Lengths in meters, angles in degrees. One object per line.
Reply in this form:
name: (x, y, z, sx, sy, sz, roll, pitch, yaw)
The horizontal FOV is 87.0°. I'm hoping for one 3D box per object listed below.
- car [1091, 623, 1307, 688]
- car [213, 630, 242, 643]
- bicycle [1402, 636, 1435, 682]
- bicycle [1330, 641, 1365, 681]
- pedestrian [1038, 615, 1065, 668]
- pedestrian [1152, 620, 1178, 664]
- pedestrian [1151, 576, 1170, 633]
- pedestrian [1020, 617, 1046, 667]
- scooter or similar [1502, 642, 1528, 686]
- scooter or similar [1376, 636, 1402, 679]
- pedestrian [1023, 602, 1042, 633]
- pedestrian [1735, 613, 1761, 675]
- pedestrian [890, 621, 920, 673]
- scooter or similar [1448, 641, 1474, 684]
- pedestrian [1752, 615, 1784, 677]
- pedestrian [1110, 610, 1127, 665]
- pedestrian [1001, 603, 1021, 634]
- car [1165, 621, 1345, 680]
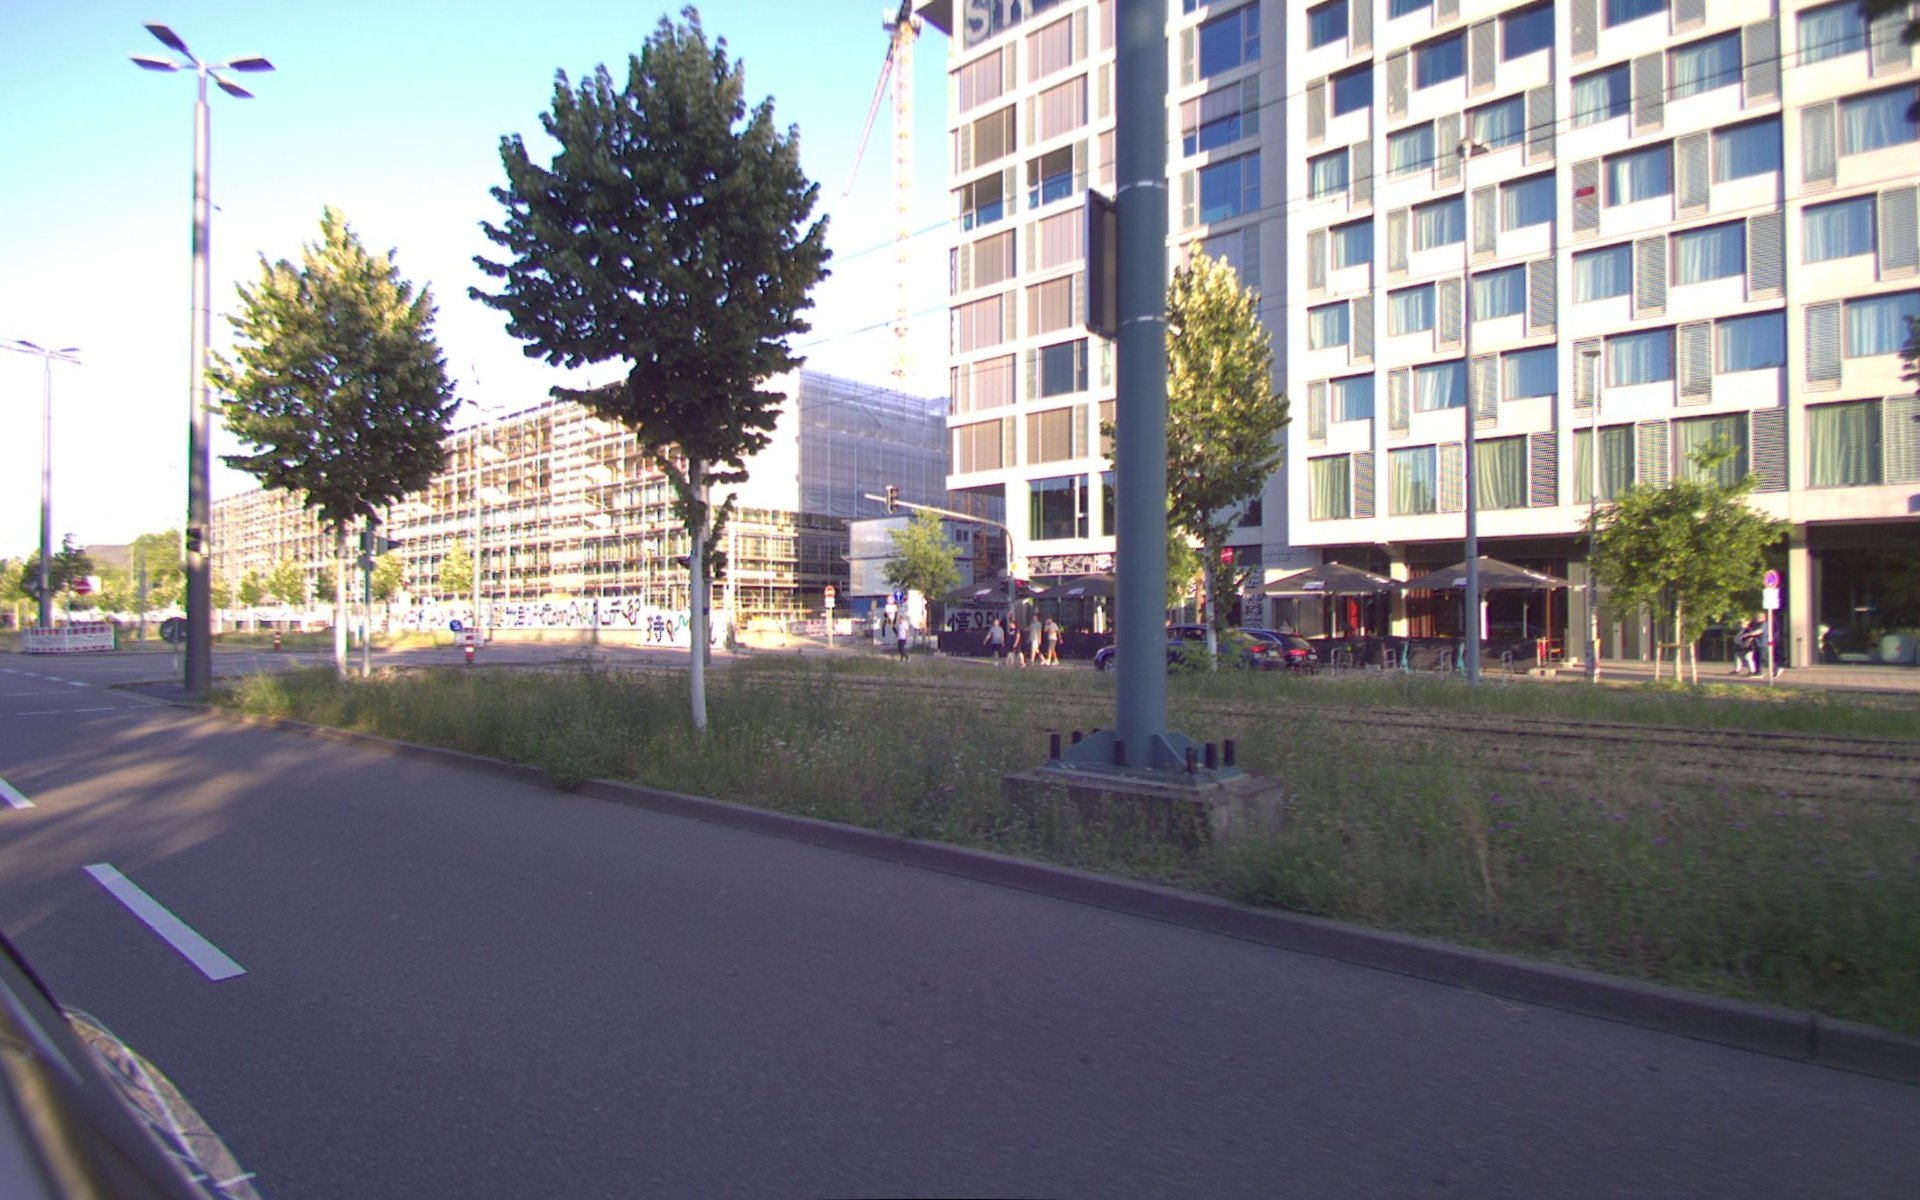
car: (5.794, 1.332, 24.881, 4.798, 1.452, 1.994, -1, -4, 40)
car: (-86.565, 4.349, 119.569, 4.062, 1.466, 1.648, -1, -3, 38)
bicycle: (13.223, 1.677, 29.153, 0.442, 1.208, 1.891, -1, 0, 37)
bicycle: (11.615, 1.808, 30.313, 0.442, 1.067, 1.891, -1, 0, 37)
pedestrian: (3.443, 1.544, 37.989, 0.708, 1.938, 0.671, -1, 0, 42)
pedestrian: (7.655, 1.558, 37.777, 0.708, 1.615, 0.672, -1, 0, 41)
pedestrian: (7.170, 0.175, 36.198, 0.494, 2.029, 0.552, 0, -2, -8)
pedestrian: (2.768, 1.598, 38.417, 0.680, 1.849, 0.699, 0, 1, 39)
scooter or similar: (14.924, 1.704, 27.204, 0.338, 1.065, 1.169, -4, 1, 41)
scooter or similar: (12.525, 1.669, 29.534, 0.338, 1.227, 1.169, -2, -2, 41)
pedestrian: (3.441, 0.827, 47.981, 0.768, 1.425, 0.601, -1, -2, 25)
pedestrian: (21.512, 1.199, 27.629, 0.516, 1.669, 0.424, -1, 0, 42)
pedestrian: (-2.011, 1.702, 36.817, 0.762, 1.850, 0.699, -1, 0, 39)
scooter or similar: (13.872, 1.717, 28.028, 0.338, 1.172, 1.169, -1, -2, 41)
pedestrian: (21.453, 1.215, 26.866, 0.603, 1.612, 0.491, -1, 0, 42)
pedestrian: (5.886, 1.391, 37.632, 0.494, 2.029, 0.552, 0, -2, -8)
pedestrian: (2.442, 0.884, 48.351, 0.772, 1.473, 0.597, -2, -2, 41)
car: (7.808, 1.291, 26.988, 4.220, 1.451, 1.866, -1, -2, 40)
